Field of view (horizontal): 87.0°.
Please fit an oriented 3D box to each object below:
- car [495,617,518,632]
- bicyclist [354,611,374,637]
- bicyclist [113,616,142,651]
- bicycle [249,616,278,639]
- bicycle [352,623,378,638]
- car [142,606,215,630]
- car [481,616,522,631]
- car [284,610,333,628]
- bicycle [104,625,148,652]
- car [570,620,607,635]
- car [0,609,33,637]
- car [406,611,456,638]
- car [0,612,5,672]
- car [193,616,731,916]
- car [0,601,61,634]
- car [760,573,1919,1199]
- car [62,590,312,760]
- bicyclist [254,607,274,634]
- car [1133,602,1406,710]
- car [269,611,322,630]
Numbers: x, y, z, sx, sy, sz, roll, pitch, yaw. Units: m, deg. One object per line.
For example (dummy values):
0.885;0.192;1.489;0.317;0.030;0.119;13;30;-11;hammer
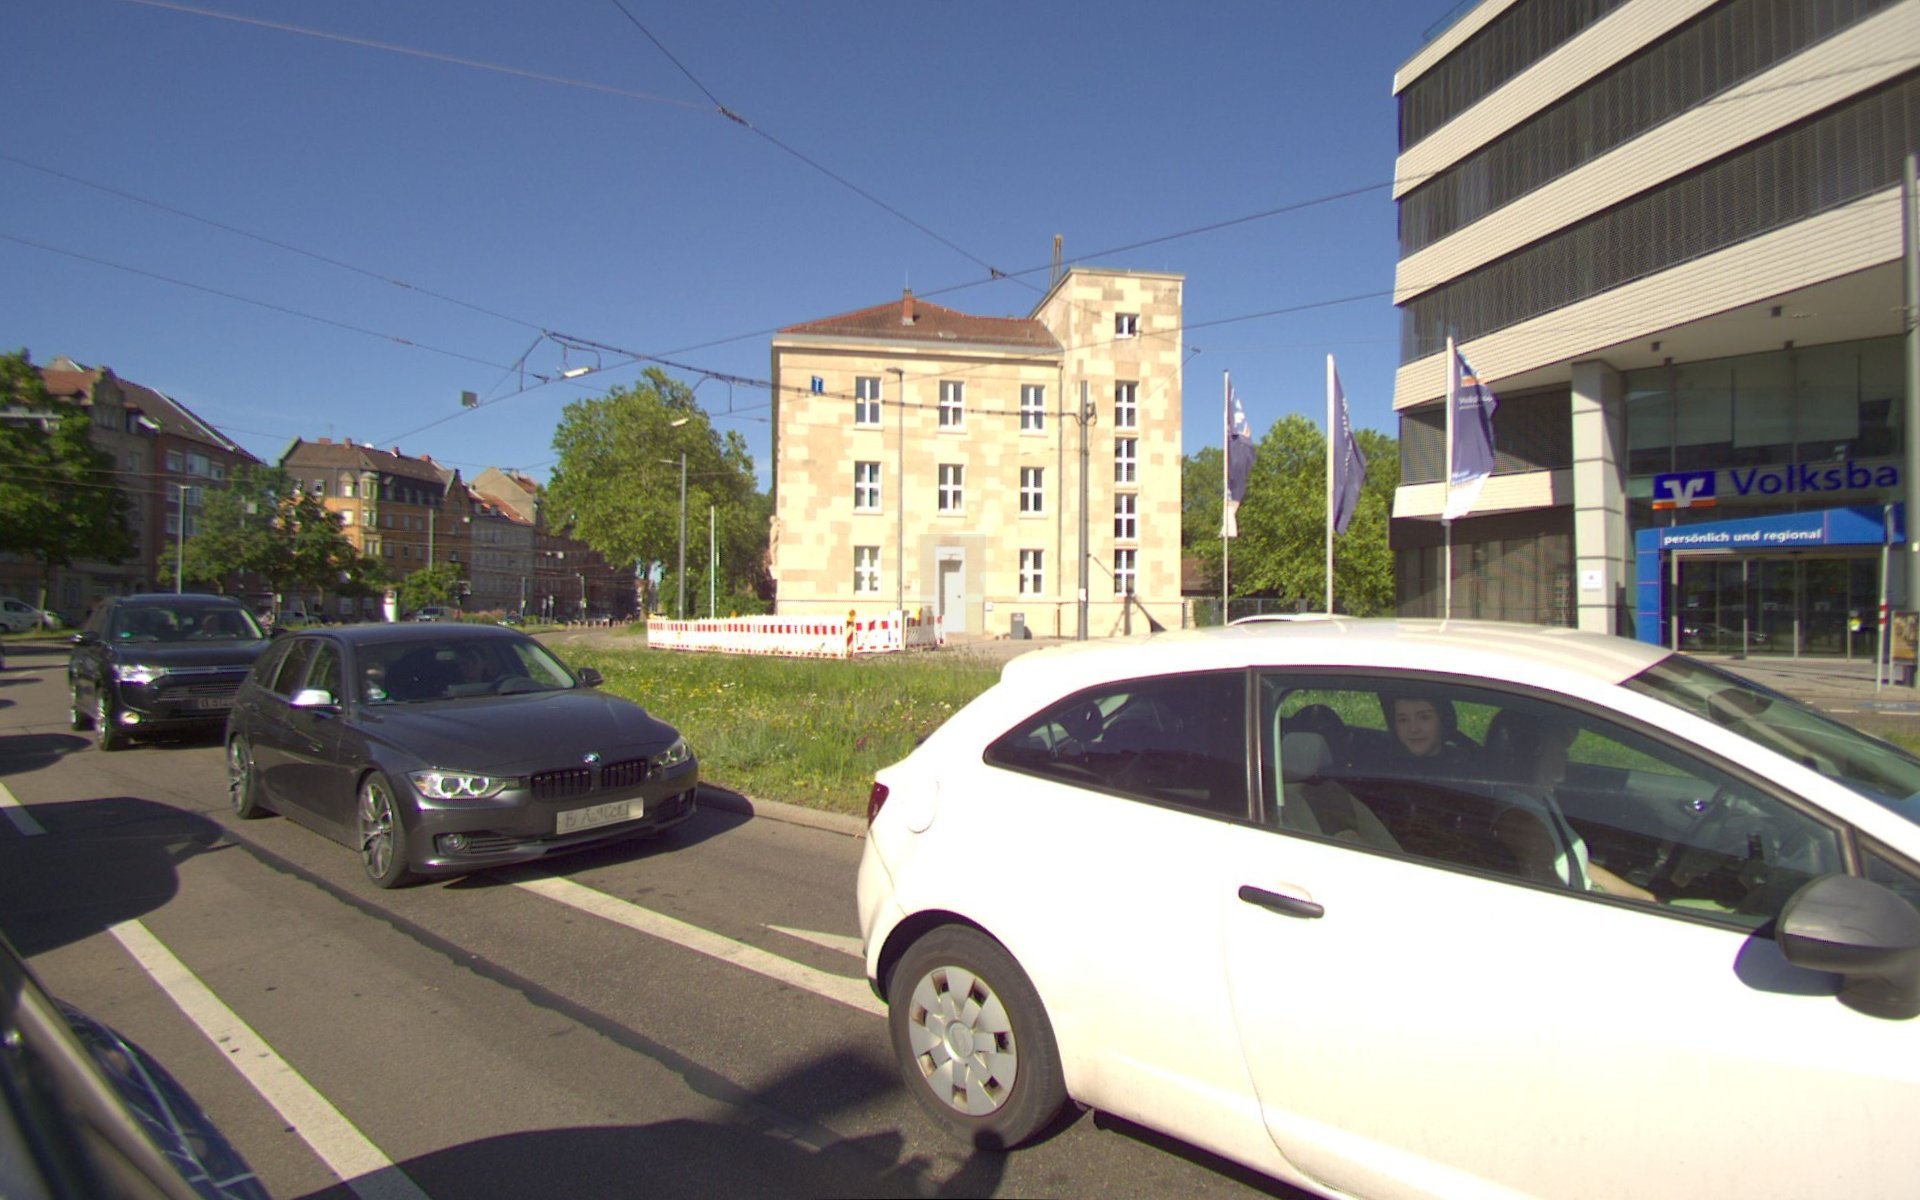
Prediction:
-48.241;2.573;107.766;1.809;1.483;4.728;1;-1;-19;car
-46.012;1.837;78.139;0.836;2.029;1.198;0;-1;-5;bicyclist
-39.110;1.559;47.531;0.658;1.641;0.974;0;-1;-12;bicyclist
-42.994;1.673;62.466;0.725;1.371;2.080;0;-1;-13;bicycle
-45.922;2.373;78.118;0.753;1.153;2.285;0;-1;-5;bicycle
-53.937;1.265;69.878;3.771;1.603;1.601;2;-2;-44;car
-52.505;2.672;115.919;4.021;1.669;1.763;1;-1;7;car
-73.505;2.120;114.232;4.276;1.896;1.846;1;-1;-15;car
-39.077;1.791;47.445;0.658;1.206;2.160;0;-1;-13;bicycle
-43.760;3.231;119.329;4.001;1.669;1.772;1;-1;-16;car
-48.770;1.145;50.390;3.768;1.390;1.602;2;-2;-41;car
-43.844;2.034;84.049;1.954;2.101;4.717;1;-1;-4;car
-26.483;1.135;26.295;1.810;1.659;4.158;2;-2;-35;car
-3.603;0.823;6.886;4.424;1.377;1.719;-1;0;41;car
-49.936;0.885;52.797;4.514;1.680;1.601;2;-2;-43;car
1.477;0.691;2.486;4.020;1.452;1.714;0;2;40;car
-9.385;0.768;12.136;1.817;1.658;4.400;-1;-1;-45;car
-42.953;1.264;62.450;0.723;1.707;0.974;0;-1;-13;bicyclist
5.295;0.906;17.555;4.175;1.658;1.803;-1;-2;37;car
-73.072;2.232;111.338;4.513;1.889;2.006;-1;0;-16;car
